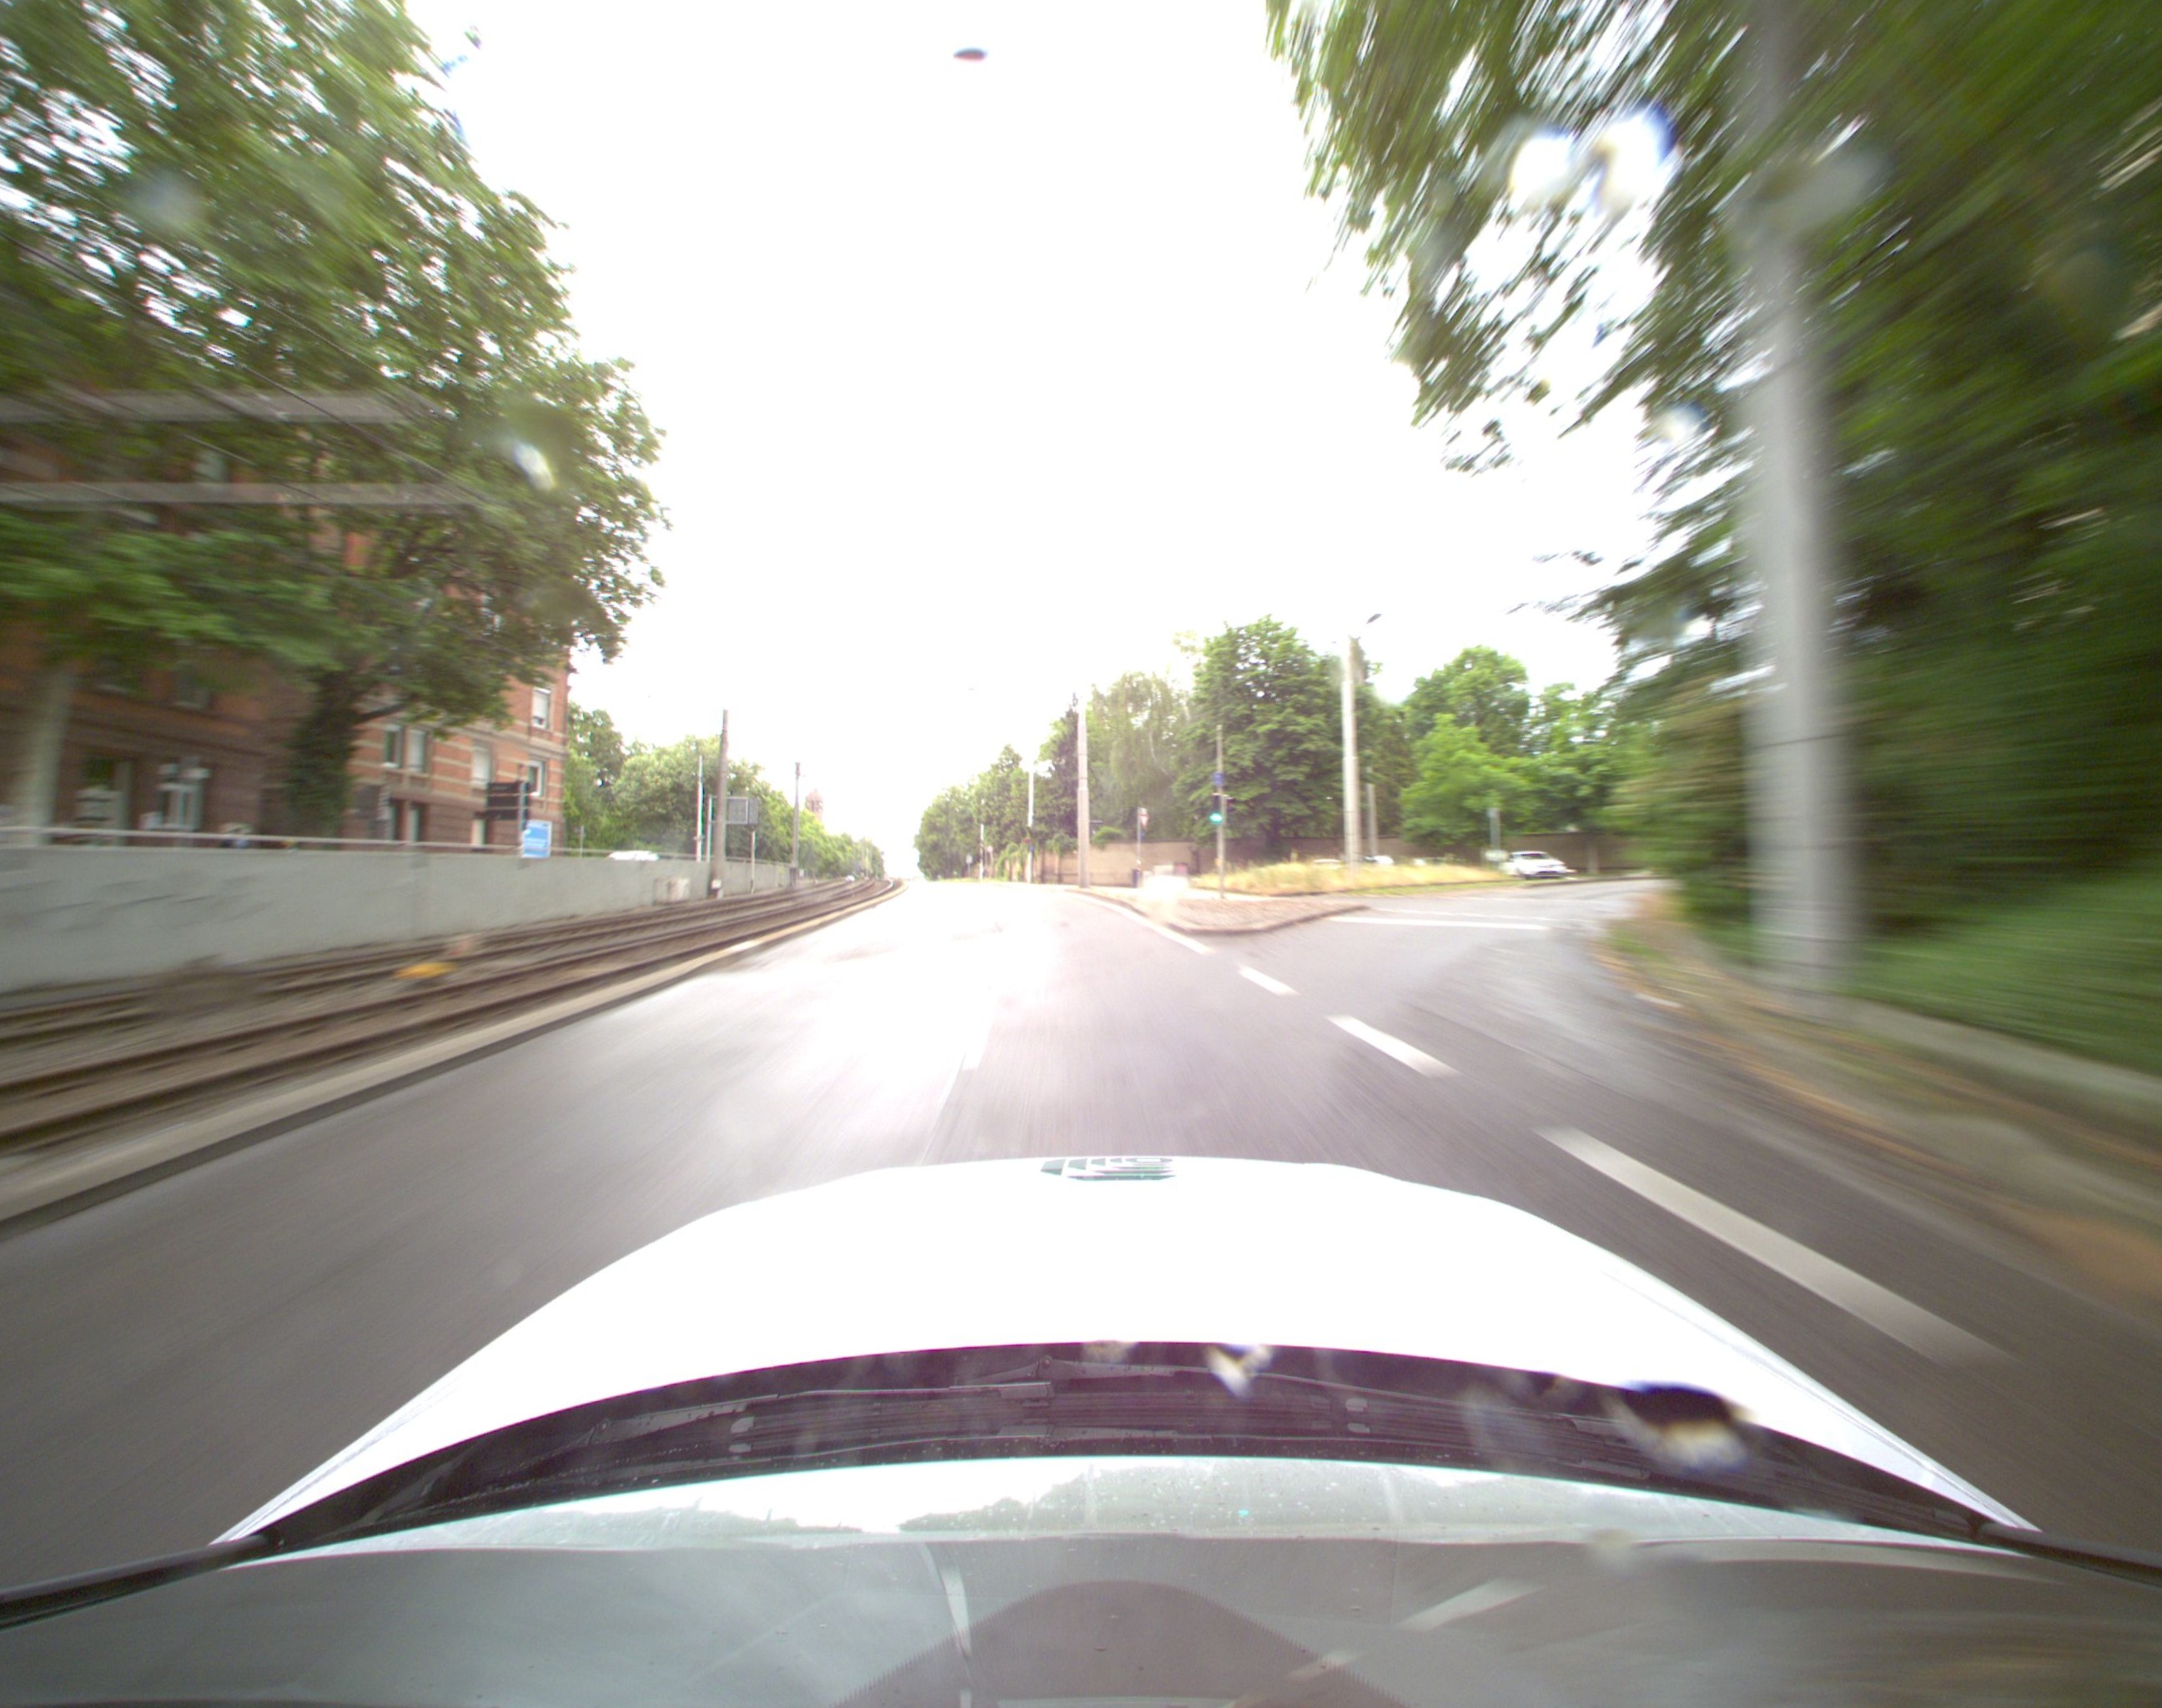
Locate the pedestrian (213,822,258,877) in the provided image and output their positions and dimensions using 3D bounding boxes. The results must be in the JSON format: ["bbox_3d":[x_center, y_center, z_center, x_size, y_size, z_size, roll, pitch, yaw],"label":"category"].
[{"bbox_3d":[-25.797,-0.144,24.861,0.590,1.624,0.724,-2,0,8],"label":"pedestrian"}]

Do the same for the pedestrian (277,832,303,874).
[{"bbox_3d":[-25.006,-0.031,25.739,0.334,1.334,0.503,-2,-1,-6],"label":"pedestrian"}]

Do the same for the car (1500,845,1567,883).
[{"bbox_3d":[22.044,0.524,39.856,1.771,1.557,4.233,-3,-4,14],"label":"car"}]

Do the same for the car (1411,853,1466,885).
[{"bbox_3d":[17.568,0.787,40.173,1.771,1.391,4.014,-2,-3,14],"label":"car"}]

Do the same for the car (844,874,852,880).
[{"bbox_3d":[-62.673,6.153,218.794,1.795,1.510,3.832,1,-1,-12],"label":"car"}]

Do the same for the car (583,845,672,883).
[{"bbox_3d":[-20.764,0.484,37.499,1.790,1.612,4.353,2,-1,-3],"label":"car"}]

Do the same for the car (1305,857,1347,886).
[{"bbox_3d":[12.550,0.934,41.830,1.741,1.406,4.013,-1,-3,12],"label":"car"}]

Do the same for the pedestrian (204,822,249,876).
[{"bbox_3d":[-26.516,-0.153,25.273,0.590,1.624,0.724,-2,0,8],"label":"pedestrian"}]

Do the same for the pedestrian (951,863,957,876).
[{"bbox_3d":[-17.508,2.113,112.402,0.720,1.687,0.726,2,-3,-12],"label":"pedestrian"}]

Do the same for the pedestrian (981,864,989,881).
[{"bbox_3d":[-10.546,2.077,89.720,0.720,1.850,0.780,2,-3,-12],"label":"pedestrian"}]
